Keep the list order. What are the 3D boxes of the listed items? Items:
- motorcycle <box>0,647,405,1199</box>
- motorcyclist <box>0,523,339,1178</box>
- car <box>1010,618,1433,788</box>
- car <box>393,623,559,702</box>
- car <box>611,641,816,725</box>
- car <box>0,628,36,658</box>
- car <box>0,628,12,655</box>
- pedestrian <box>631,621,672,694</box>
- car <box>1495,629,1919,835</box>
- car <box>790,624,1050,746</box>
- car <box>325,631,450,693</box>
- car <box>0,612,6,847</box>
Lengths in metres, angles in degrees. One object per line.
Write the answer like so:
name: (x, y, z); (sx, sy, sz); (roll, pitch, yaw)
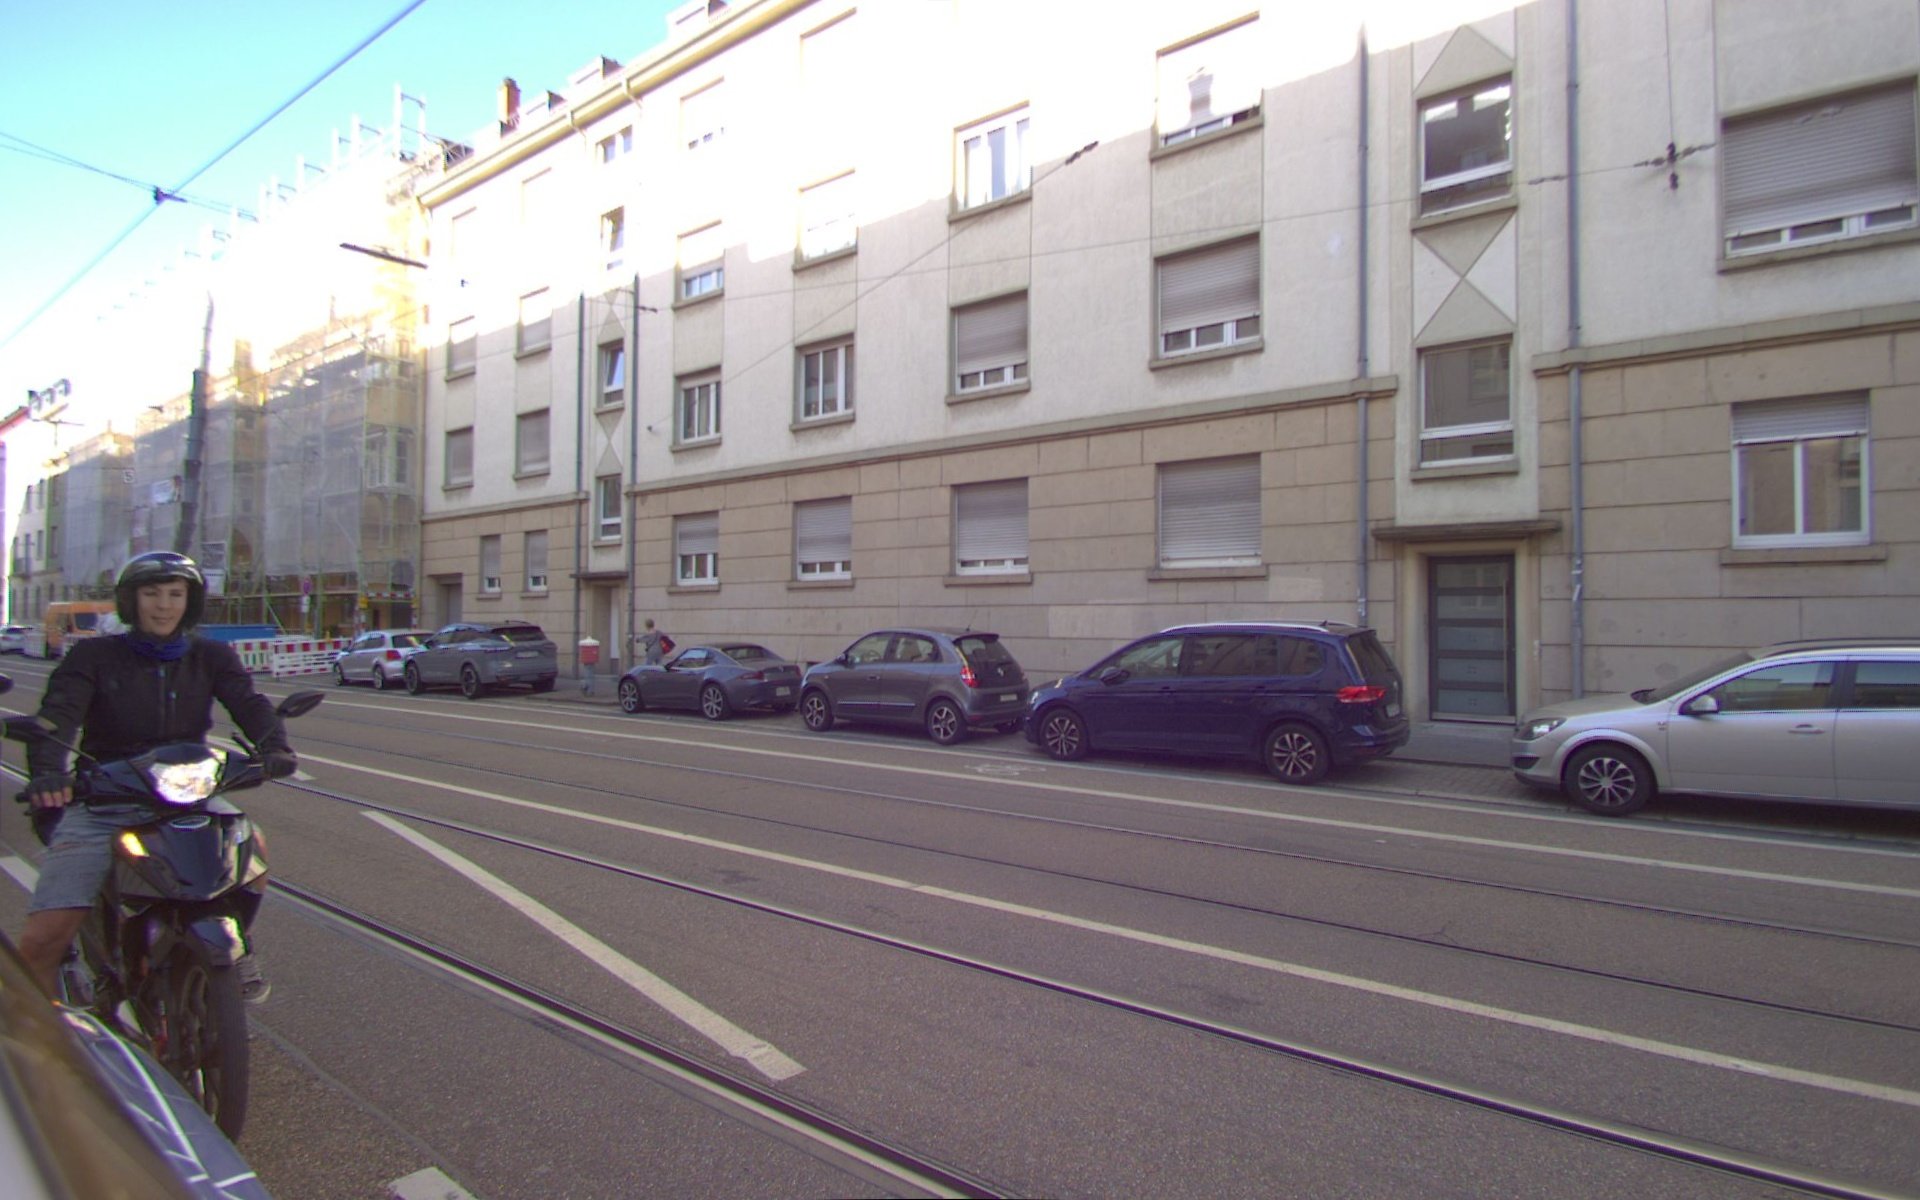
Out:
motorcycle: (-2.649, 0.816, 3.239); (2.272, 1.302, 0.781); (-2, -3, 41)
motorcyclist: (-2.552, 0.655, 3.162); (0.899, 1.668, 0.781); (-2, -3, 41)
car: (2.882, 1.031, 11.678); (4.383, 1.611, 1.779); (-1, -1, 38)
car: (-10.894, 1.331, 22.661); (4.201, 1.611, 1.675); (-1, -1, 38)
car: (-4.325, 1.364, 17.502); (3.681, 1.244, 1.502); (-1, -1, 38)
car: (-50.079, 2.265, 53.339); (3.964, 1.498, 1.662); (-2, -1, 42)
car: (-54.595, 2.320, 56.815); (3.964, 1.498, 1.662); (-2, -1, 42)
pedestrian: (-6.701, 1.231, 21.982); (0.693, 1.553, 0.563); (-2, -3, 39)
car: (7.116, 1.002, 8.504); (4.383, 1.489, 1.779); (-1, -1, 38)
car: (-0.639, 1.131, 14.657); (3.535, 1.539, 1.659); (-1, -1, 38)
car: (-14.395, 1.496, 25.398); (3.506, 1.423, 1.524); (-1, -1, 38)
car: (-8.139, 0.853, 6.986); (4.143, 1.473, 1.664); (-2, -1, 38)
